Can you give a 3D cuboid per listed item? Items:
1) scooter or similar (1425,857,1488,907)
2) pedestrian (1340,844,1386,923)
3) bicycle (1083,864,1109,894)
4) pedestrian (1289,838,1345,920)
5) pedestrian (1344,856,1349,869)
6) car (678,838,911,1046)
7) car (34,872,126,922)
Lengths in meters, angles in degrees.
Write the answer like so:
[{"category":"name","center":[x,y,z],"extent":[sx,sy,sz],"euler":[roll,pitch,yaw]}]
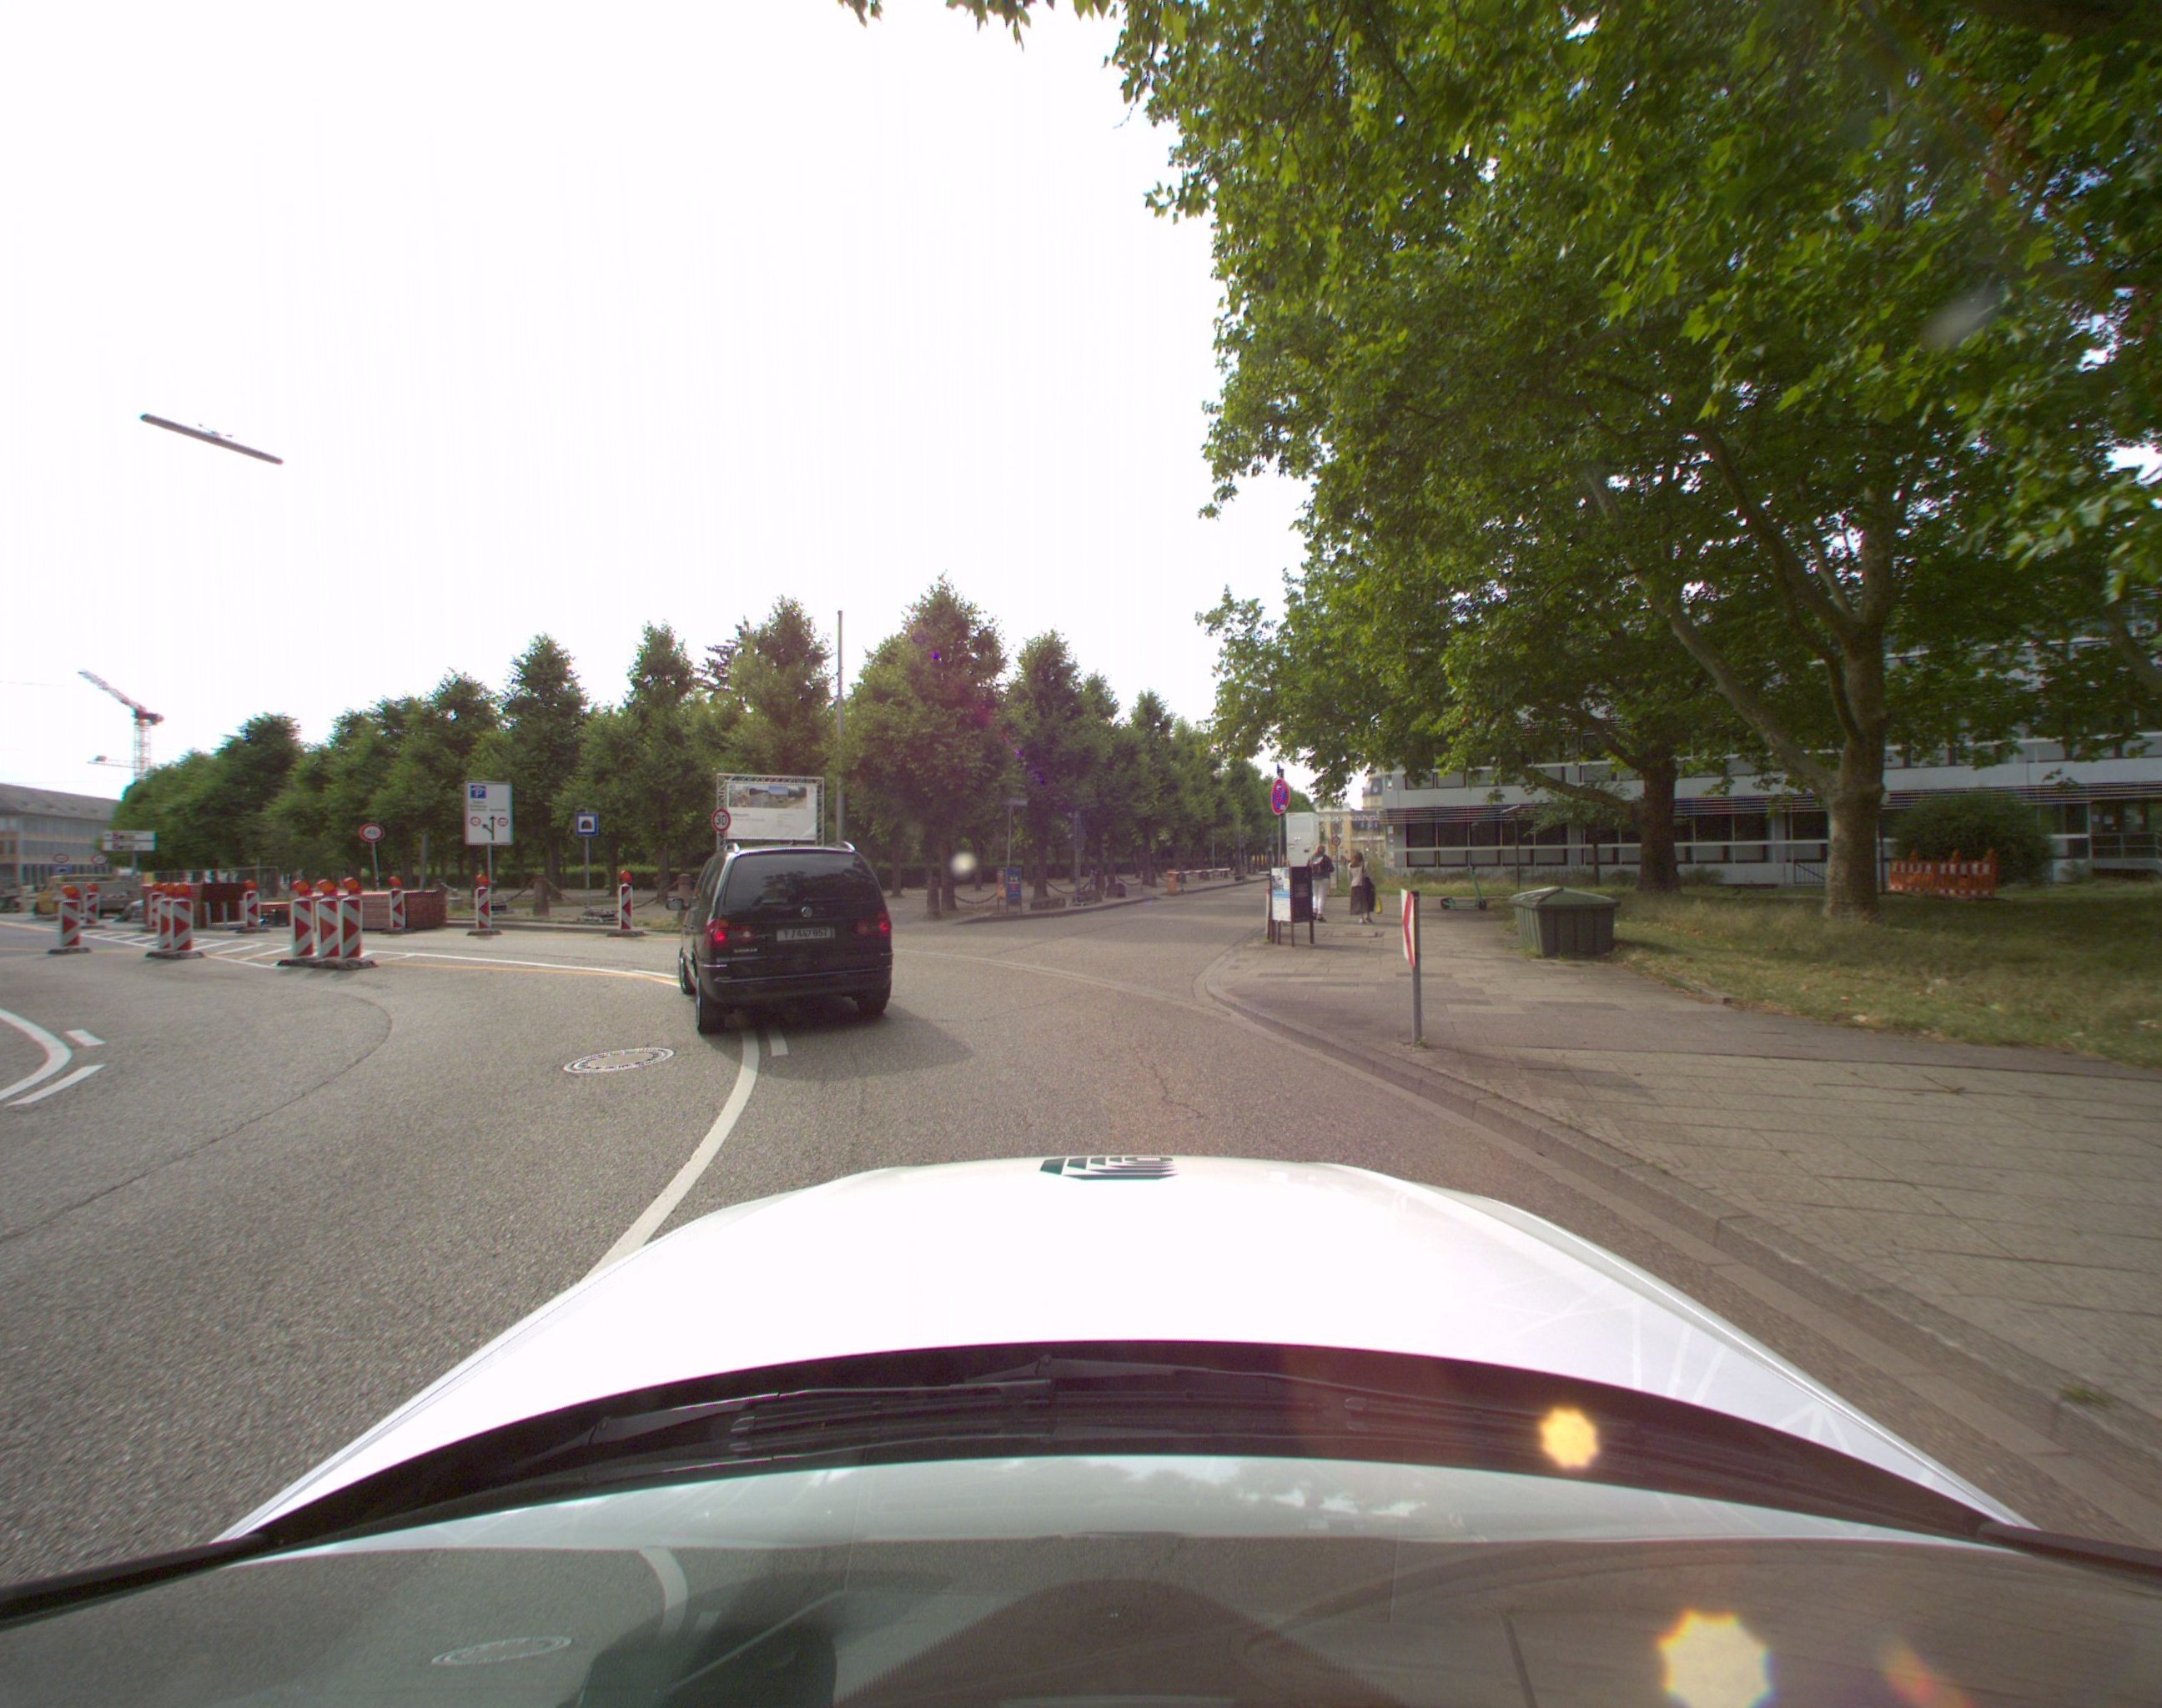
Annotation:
[{"category":"scooter or similar","center":[9.820,0.724,21.328],"extent":[1.439,1.269,0.572],"euler":[0,0,16]},{"category":"pedestrian","center":[6.098,0.617,17.584],"extent":[0.888,1.641,0.857],"euler":[0,0,23]},{"category":"bicycle","center":[0.629,1.003,33.268],"extent":[0.948,1.110,2.582],"euler":[0,0,4]},{"category":"pedestrian","center":[5.215,0.520,17.965],"extent":[0.951,1.741,1.263],"euler":[0,0,27]},{"category":"pedestrian","center":[35.578,1.147,109.079],"extent":[0.457,1.625,0.633],"euler":[0,0,7]},{"category":"car","center":[-3.359,0.749,8.990],"extent":[1.804,1.708,4.093],"euler":[-1,0,-28]},{"category":"car","center":[-45.258,1.903,36.804],"extent":[4.289,2.013,2.012],"euler":[1,0,31]}]
